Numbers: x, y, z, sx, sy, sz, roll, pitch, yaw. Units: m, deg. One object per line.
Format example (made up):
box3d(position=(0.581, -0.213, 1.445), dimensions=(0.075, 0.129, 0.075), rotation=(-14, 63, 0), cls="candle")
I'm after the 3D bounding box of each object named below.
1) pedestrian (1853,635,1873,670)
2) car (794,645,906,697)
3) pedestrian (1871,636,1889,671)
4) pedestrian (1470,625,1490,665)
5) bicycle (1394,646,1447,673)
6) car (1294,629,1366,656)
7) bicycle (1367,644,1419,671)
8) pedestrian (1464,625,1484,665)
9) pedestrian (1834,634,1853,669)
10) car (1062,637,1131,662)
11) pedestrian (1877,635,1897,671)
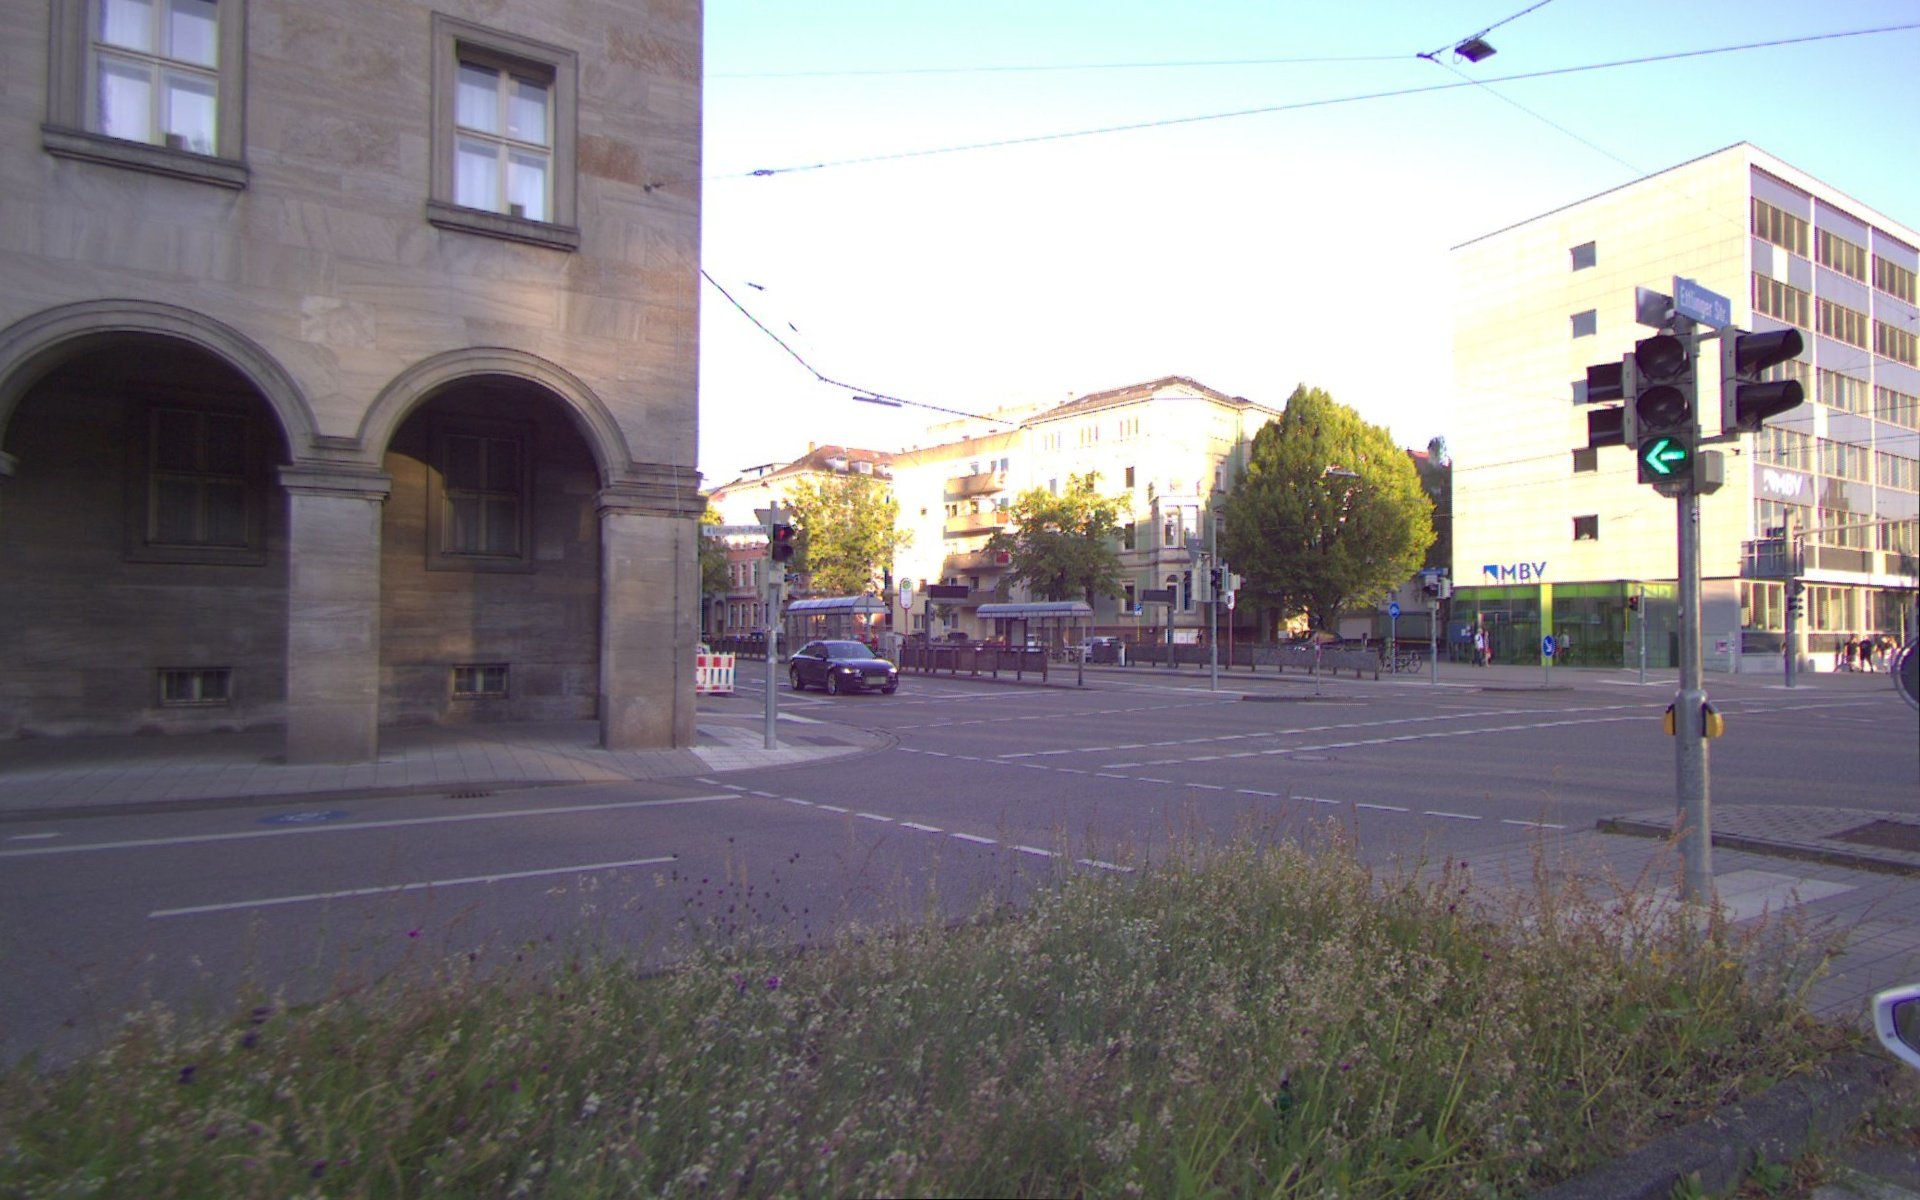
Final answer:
box3d(position=(44.118, 2.544, 49.081), dimensions=(0.494, 1.701, 0.549), rotation=(1, -2, -30), cls="pedestrian")
box3d(position=(-3.185, 1.947, 28.390), dimensions=(1.791, 1.344, 4.120), rotation=(1, -2, -27), cls="car")
box3d(position=(44.440, 2.583, 48.541), dimensions=(0.494, 1.701, 0.497), rotation=(1, -2, -30), cls="pedestrian")
box3d(position=(23.967, 2.066, 46.292), dimensions=(0.718, 1.813, 0.634), rotation=(2, -2, -43), cls="pedestrian")
box3d(position=(19.363, 2.486, 42.250), dimensions=(2.183, 1.127, 0.834), rotation=(1, -2, -27), cls="bicycle")
box3d(position=(19.834, 2.293, 53.868), dimensions=(3.553, 1.390, 1.826), rotation=(1, -2, -32), cls="car")
box3d(position=(18.571, 2.456, 43.082), dimensions=(2.183, 1.127, 0.834), rotation=(1, -2, -27), cls="bicycle")
box3d(position=(23.432, 2.053, 45.780), dimensions=(0.718, 1.813, 0.634), rotation=(2, -2, -44), cls="pedestrian")
box3d(position=(43.320, 2.519, 49.270), dimensions=(0.494, 1.701, 0.549), rotation=(1, -2, -30), cls="pedestrian")
box3d(position=(7.824, 2.846, 57.805), dimensions=(3.545, 1.390, 1.831), rotation=(-2, -3, 44), cls="car")
box3d(position=(44.194, 2.502, 47.885), dimensions=(0.494, 1.701, 0.549), rotation=(1, -2, -30), cls="pedestrian")
